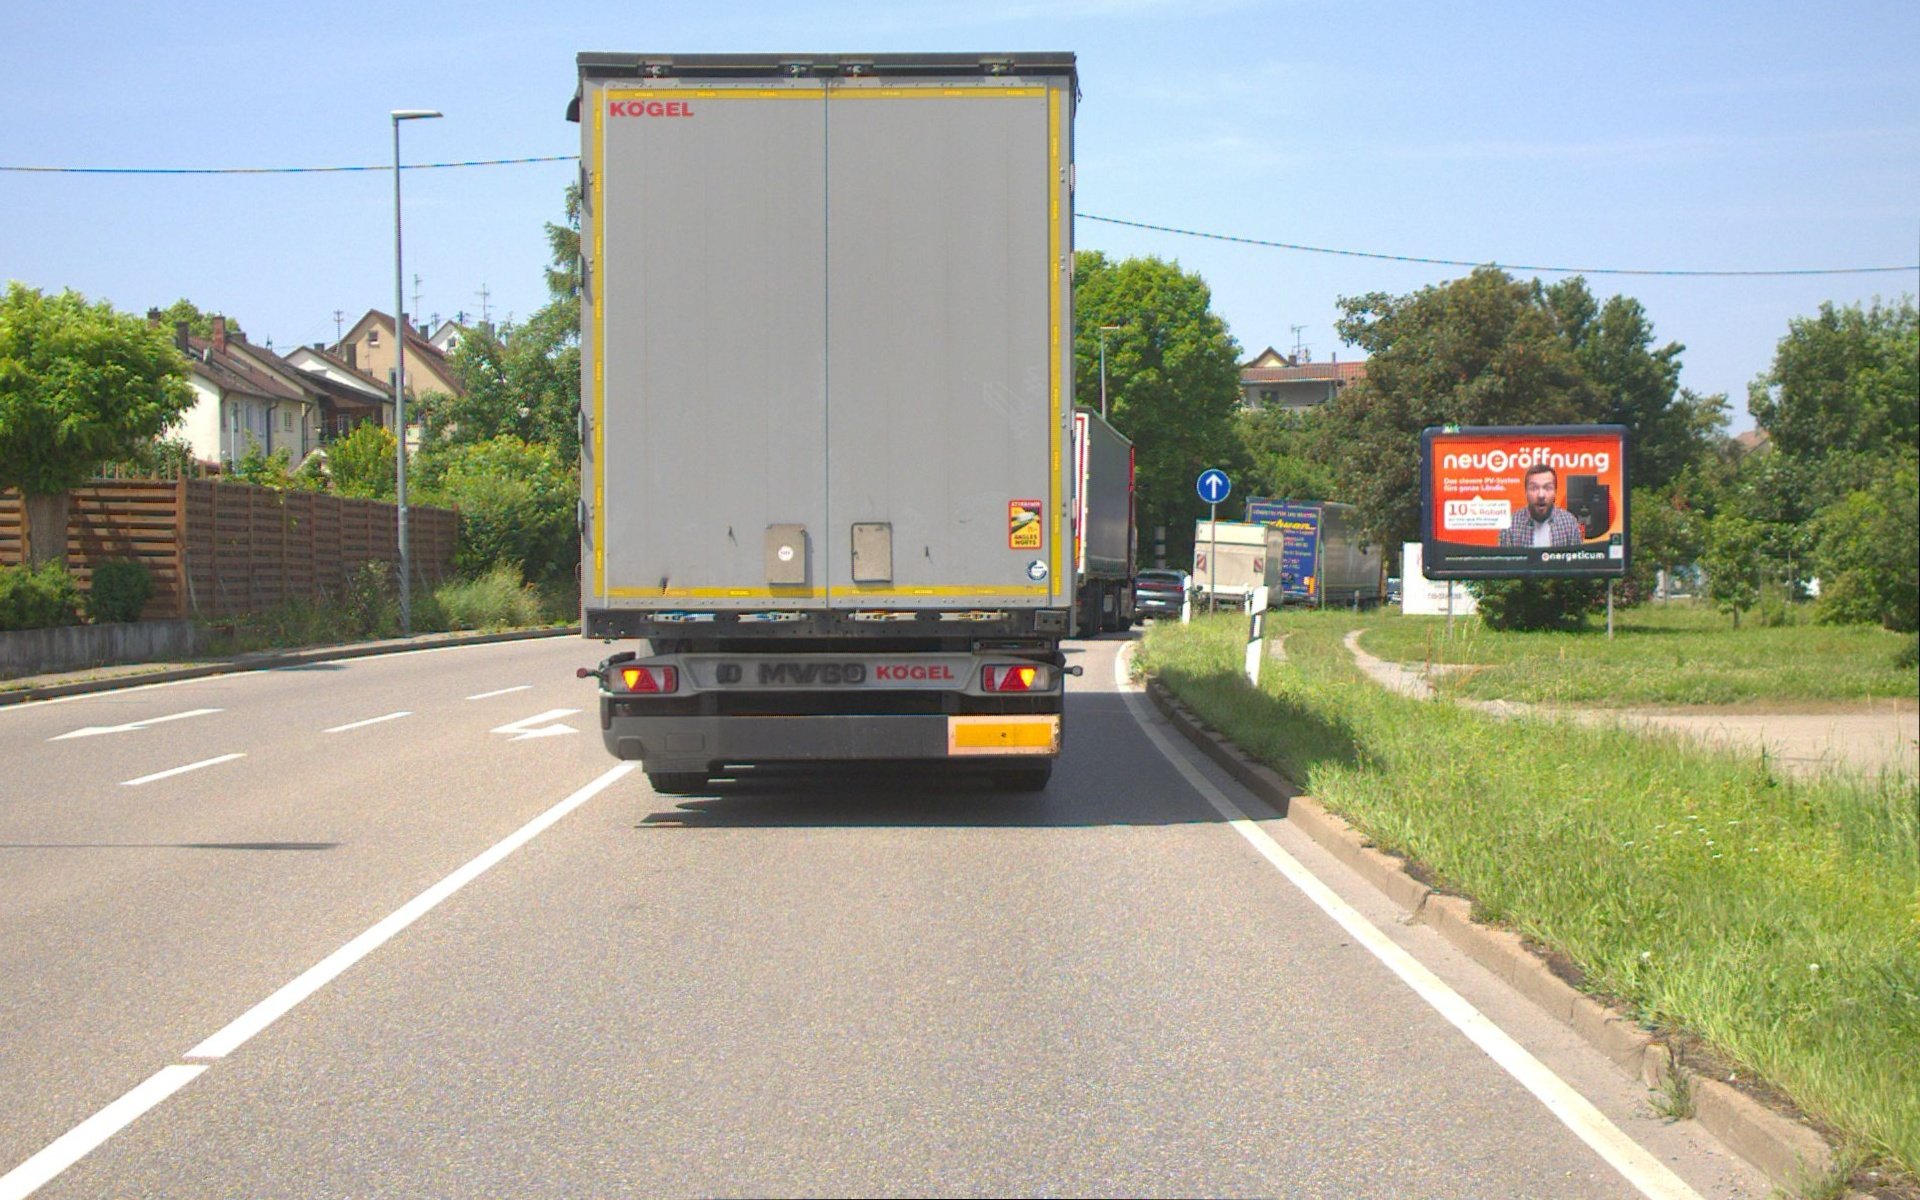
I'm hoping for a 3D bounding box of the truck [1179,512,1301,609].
[{"bbox_3d":[8.484,-1.148,103.621,2.545,2.793,6.027,1,0,16],"label":"truck"}]

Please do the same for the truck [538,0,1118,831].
[{"bbox_3d":[-0.668,-0.998,22.823,2.822,4.113,11.444,1,1,0],"label":"truck"}]

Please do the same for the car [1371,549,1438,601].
[{"bbox_3d":[17.622,-0.980,136.218,1.995,2.007,3.997,1,0,17],"label":"car"}]

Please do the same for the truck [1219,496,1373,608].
[{"bbox_3d":[11.408,-1.657,115.800,3.435,3.592,9.346,1,1,16],"label":"truck"}]

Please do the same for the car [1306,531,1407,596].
[{"bbox_3d":[14.499,-1.347,125.430,2.534,2.269,6.376,1,1,17],"label":"car"}]

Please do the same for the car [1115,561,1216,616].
[{"bbox_3d":[5.443,-0.289,90.586,1.995,1.371,3.997,1,0,13],"label":"car"}]

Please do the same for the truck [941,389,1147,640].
[{"bbox_3d":[1.878,-1.464,67.138,2.761,4.274,16.411,1,0,6],"label":"truck"}]

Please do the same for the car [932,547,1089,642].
[{"bbox_3d":[0.798,-0.078,51.350,1.819,1.342,3.846,1,0,9],"label":"car"}]
